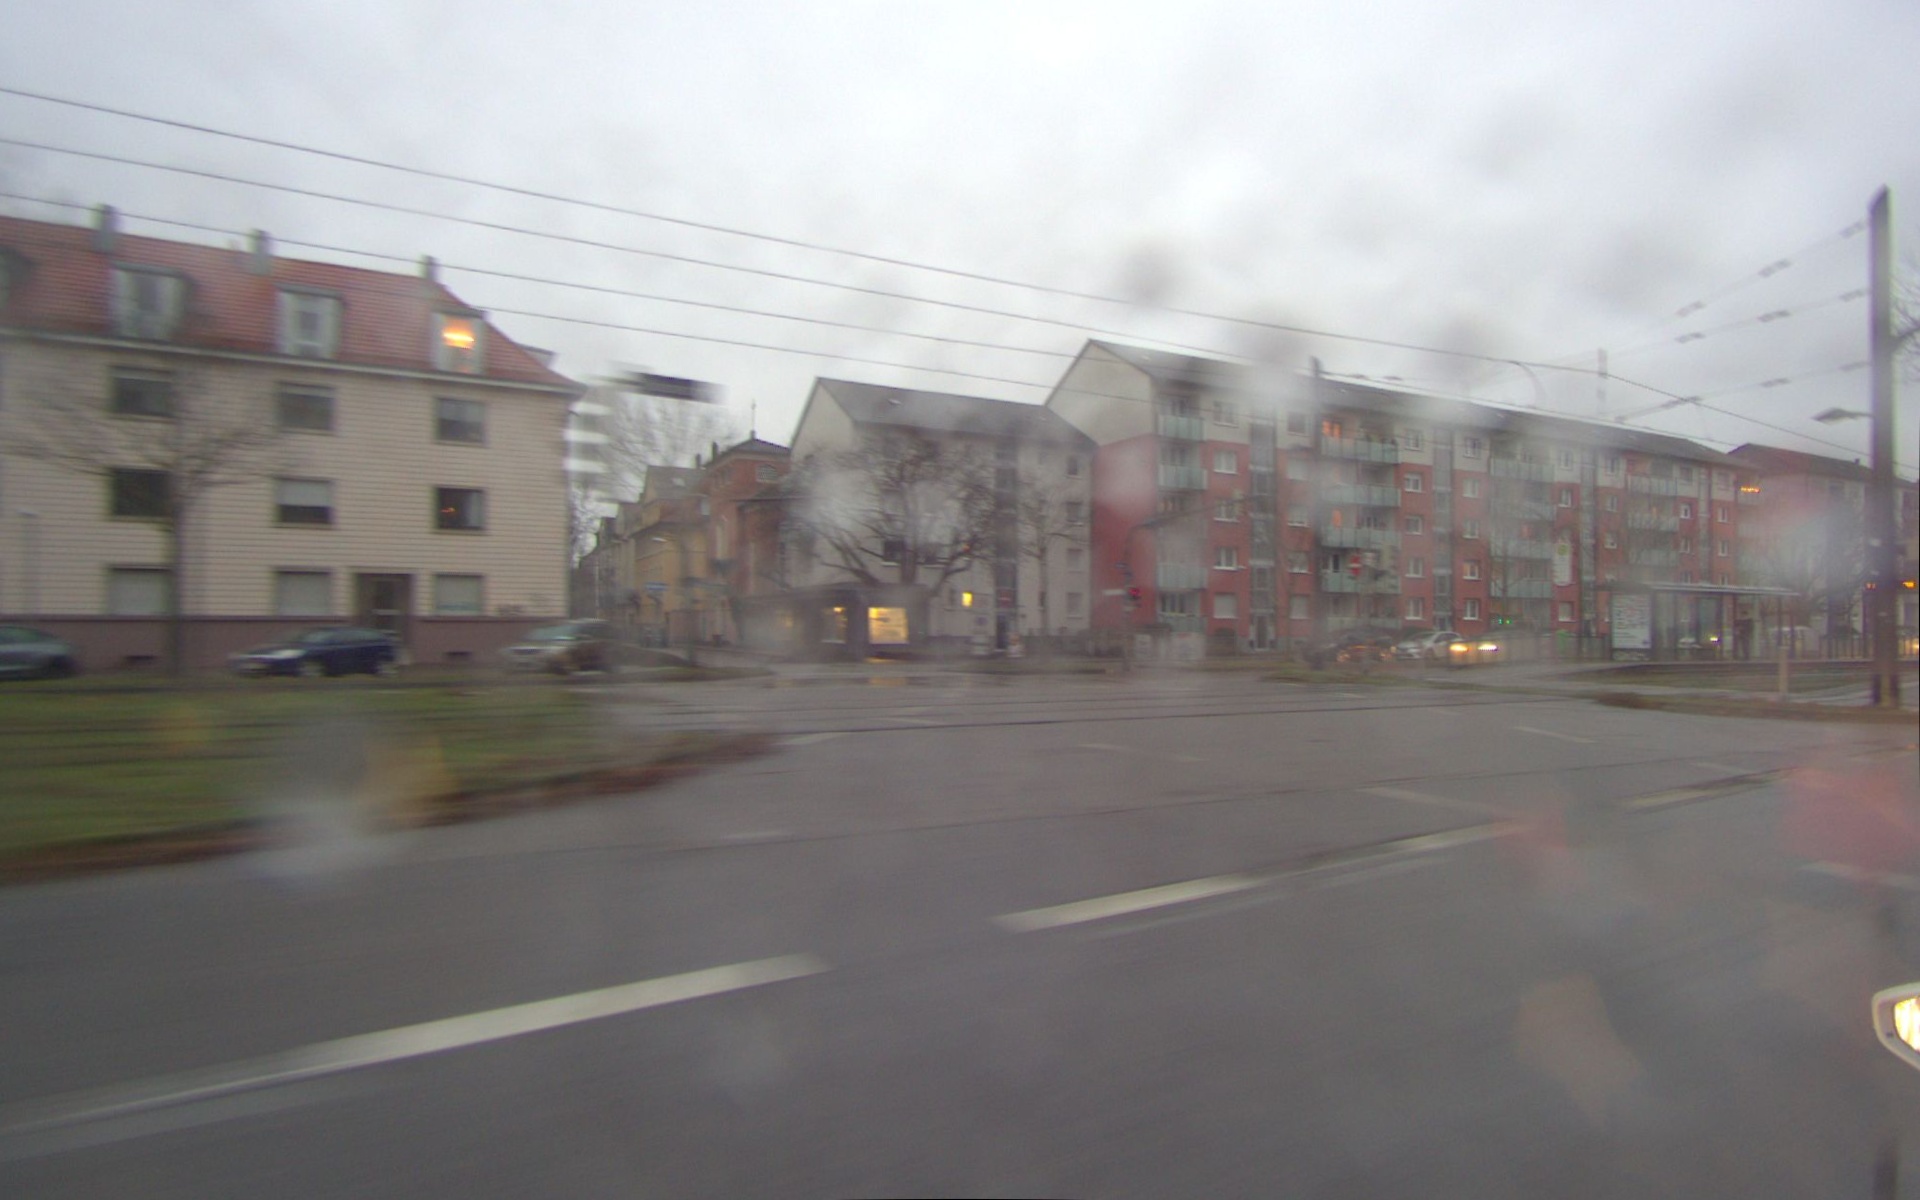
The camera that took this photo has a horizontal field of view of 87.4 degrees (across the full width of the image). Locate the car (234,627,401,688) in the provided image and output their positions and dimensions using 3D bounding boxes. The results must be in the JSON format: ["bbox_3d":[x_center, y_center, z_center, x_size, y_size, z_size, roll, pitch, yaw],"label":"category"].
[{"bbox_3d":[-16.098,1.396,25.393,1.424,1.355,3.770,0,-1,8],"label":"car"}]

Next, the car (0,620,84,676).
[{"bbox_3d":[-21.757,1.064,21.799,1.647,1.131,4.191,1,0,3],"label":"car"}]

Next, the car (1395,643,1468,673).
[{"bbox_3d":[22.310,2.720,47.544,3.344,1.304,1.438,1,0,-29],"label":"car"}]

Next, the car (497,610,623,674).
[{"bbox_3d":[-11.020,1.102,27.938,1.707,1.576,3.800,1,0,5],"label":"car"}]

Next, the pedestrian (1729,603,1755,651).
[{"bbox_3d":[27.399,0.940,35.193,0.455,1.678,0.494,1,1,-12],"label":"pedestrian"}]

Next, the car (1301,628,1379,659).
[{"bbox_3d":[16.985,1.922,44.913,3.344,1.304,1.438,1,0,-29],"label":"car"}]

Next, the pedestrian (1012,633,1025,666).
[{"bbox_3d":[2.154,1.816,36.808,0.340,1.200,0.434,2,0,22],"label":"pedestrian"}]

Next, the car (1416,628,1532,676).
[{"bbox_3d":[15.950,1.592,31.145,3.593,1.360,1.438,1,0,-29],"label":"car"}]
